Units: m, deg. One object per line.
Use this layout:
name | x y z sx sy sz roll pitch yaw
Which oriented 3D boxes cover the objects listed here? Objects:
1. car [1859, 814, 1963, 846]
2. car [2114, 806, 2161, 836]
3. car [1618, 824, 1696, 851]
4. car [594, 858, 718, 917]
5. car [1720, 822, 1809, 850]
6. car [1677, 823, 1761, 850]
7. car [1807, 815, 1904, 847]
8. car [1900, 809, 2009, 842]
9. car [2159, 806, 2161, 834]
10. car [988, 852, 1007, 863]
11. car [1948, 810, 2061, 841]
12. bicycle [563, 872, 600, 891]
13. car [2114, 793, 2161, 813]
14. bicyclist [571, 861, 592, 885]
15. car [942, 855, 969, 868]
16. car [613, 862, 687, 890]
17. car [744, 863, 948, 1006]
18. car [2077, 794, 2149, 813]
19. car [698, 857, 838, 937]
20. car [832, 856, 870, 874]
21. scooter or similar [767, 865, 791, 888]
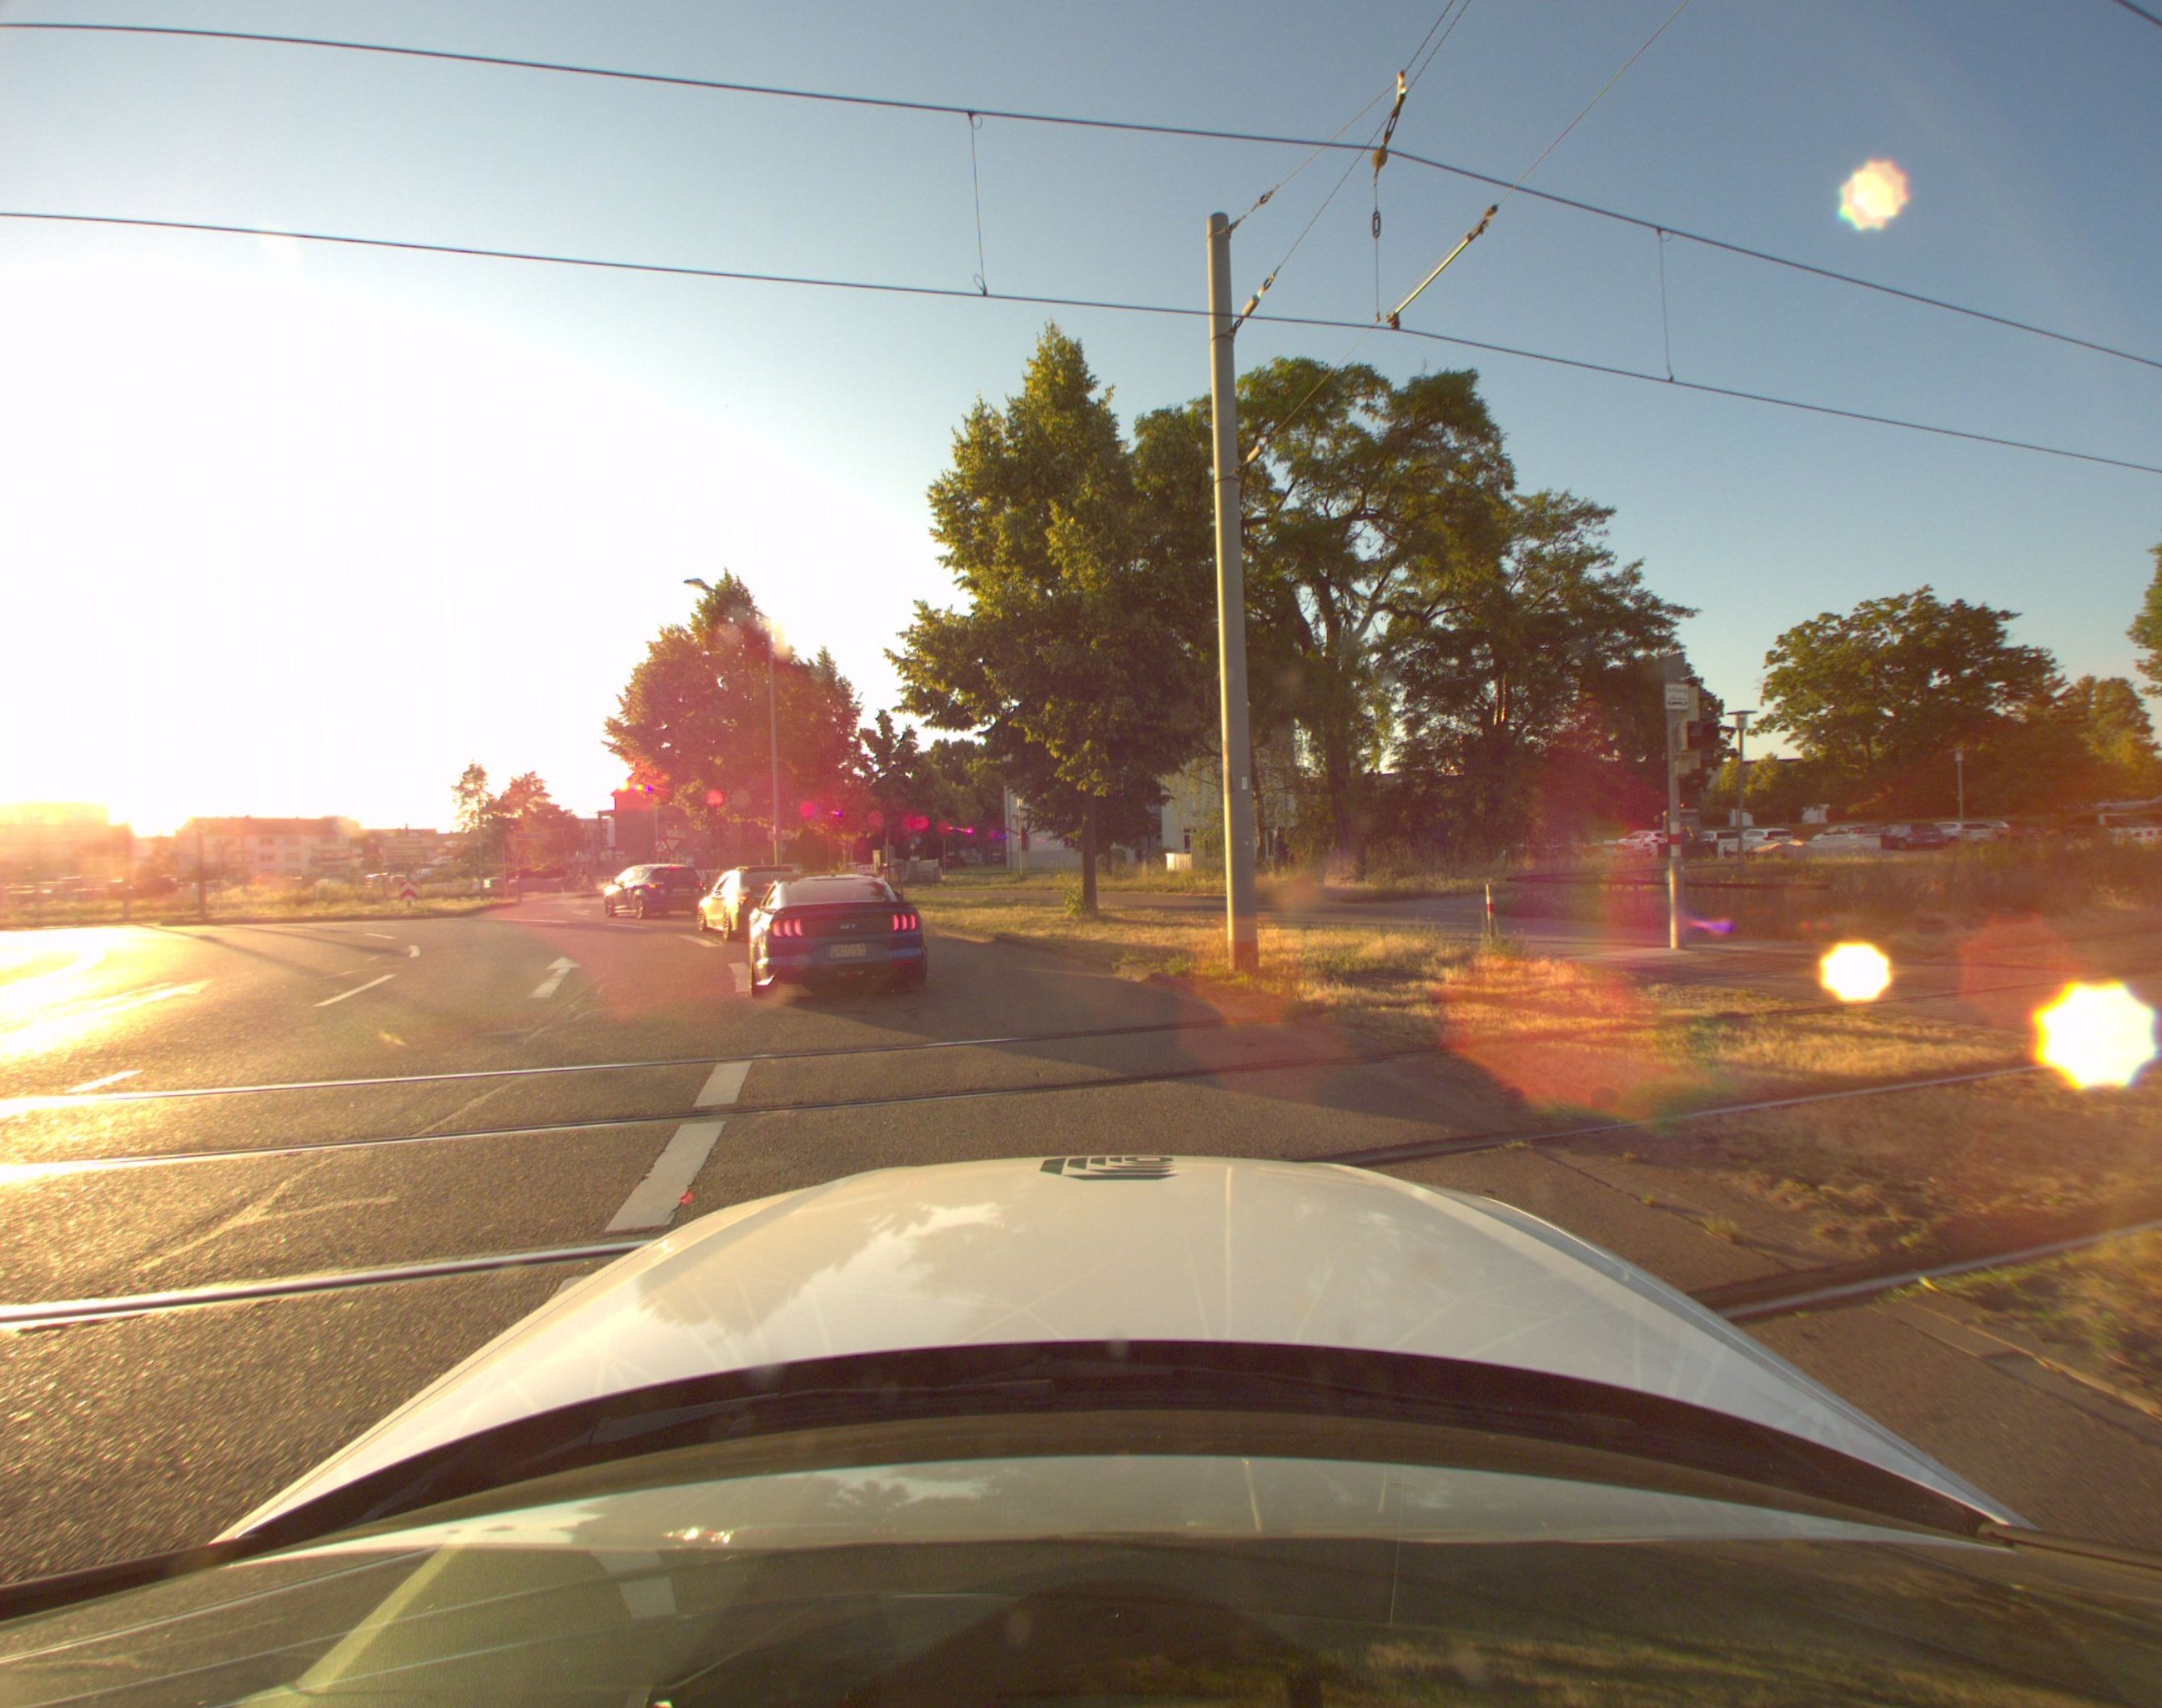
car | 46.083 -1.302 45.351 1.937 1.662 4.007 -2 0 6
car | 58.153 -1.812 43.166 1.888 1.553 4.007 -2 0 6
car | 33.550 -0.939 47.568 1.937 1.445 4.007 -2 0 6
car | -13.013 1.013 24.866 4.025 1.602 1.970 -3 -1 40
car | 38.611 -1.011 46.146 1.937 1.445 4.007 -2 0 6
car | 36.518 -0.970 46.780 1.937 1.445 4.007 -2 0 6
car | 43.802 -1.266 46.194 1.937 1.662 4.007 -2 0 6
car | 48.185 -1.526 45.032 1.937 1.662 4.007 -2 0 6
car | 60.328 -1.909 42.905 1.888 1.553 4.007 -2 0 6
car | -11.935 0.464 116.765 1.865 1.401 3.925 -2 1 7
car | 50.968 -1.528 45.058 1.888 1.553 4.007 -2 0 6
bicycle | -34.462 1.885 56.180 0.748 1.167 2.415 -2 0 9
car | 95.626 -4.583 72.667 3.963 1.553 1.909 -2 0 9
bicyclist | -34.460 1.320 56.175 0.748 1.612 0.980 -2 0 8
car | -15.093 0.886 98.064 1.863 1.401 3.929 -2 0 12
car | -24.672 1.223 46.830 1.867 1.401 3.922 -2 0 5
car | -3.238 0.811 10.467 1.960 1.342 4.634 -1 0 -23
car | 96.849 -4.723 76.481 3.963 1.553 1.909 -2 0 9
car | -6.676 0.817 17.076 1.964 1.427 4.385 -1 -1 -32
car | -20.685 0.980 73.342 1.865 1.401 3.925 -2 1 7
scooter or similar | -16.962 1.249 45.761 1.130 1.238 0.437 -2 0 -42
